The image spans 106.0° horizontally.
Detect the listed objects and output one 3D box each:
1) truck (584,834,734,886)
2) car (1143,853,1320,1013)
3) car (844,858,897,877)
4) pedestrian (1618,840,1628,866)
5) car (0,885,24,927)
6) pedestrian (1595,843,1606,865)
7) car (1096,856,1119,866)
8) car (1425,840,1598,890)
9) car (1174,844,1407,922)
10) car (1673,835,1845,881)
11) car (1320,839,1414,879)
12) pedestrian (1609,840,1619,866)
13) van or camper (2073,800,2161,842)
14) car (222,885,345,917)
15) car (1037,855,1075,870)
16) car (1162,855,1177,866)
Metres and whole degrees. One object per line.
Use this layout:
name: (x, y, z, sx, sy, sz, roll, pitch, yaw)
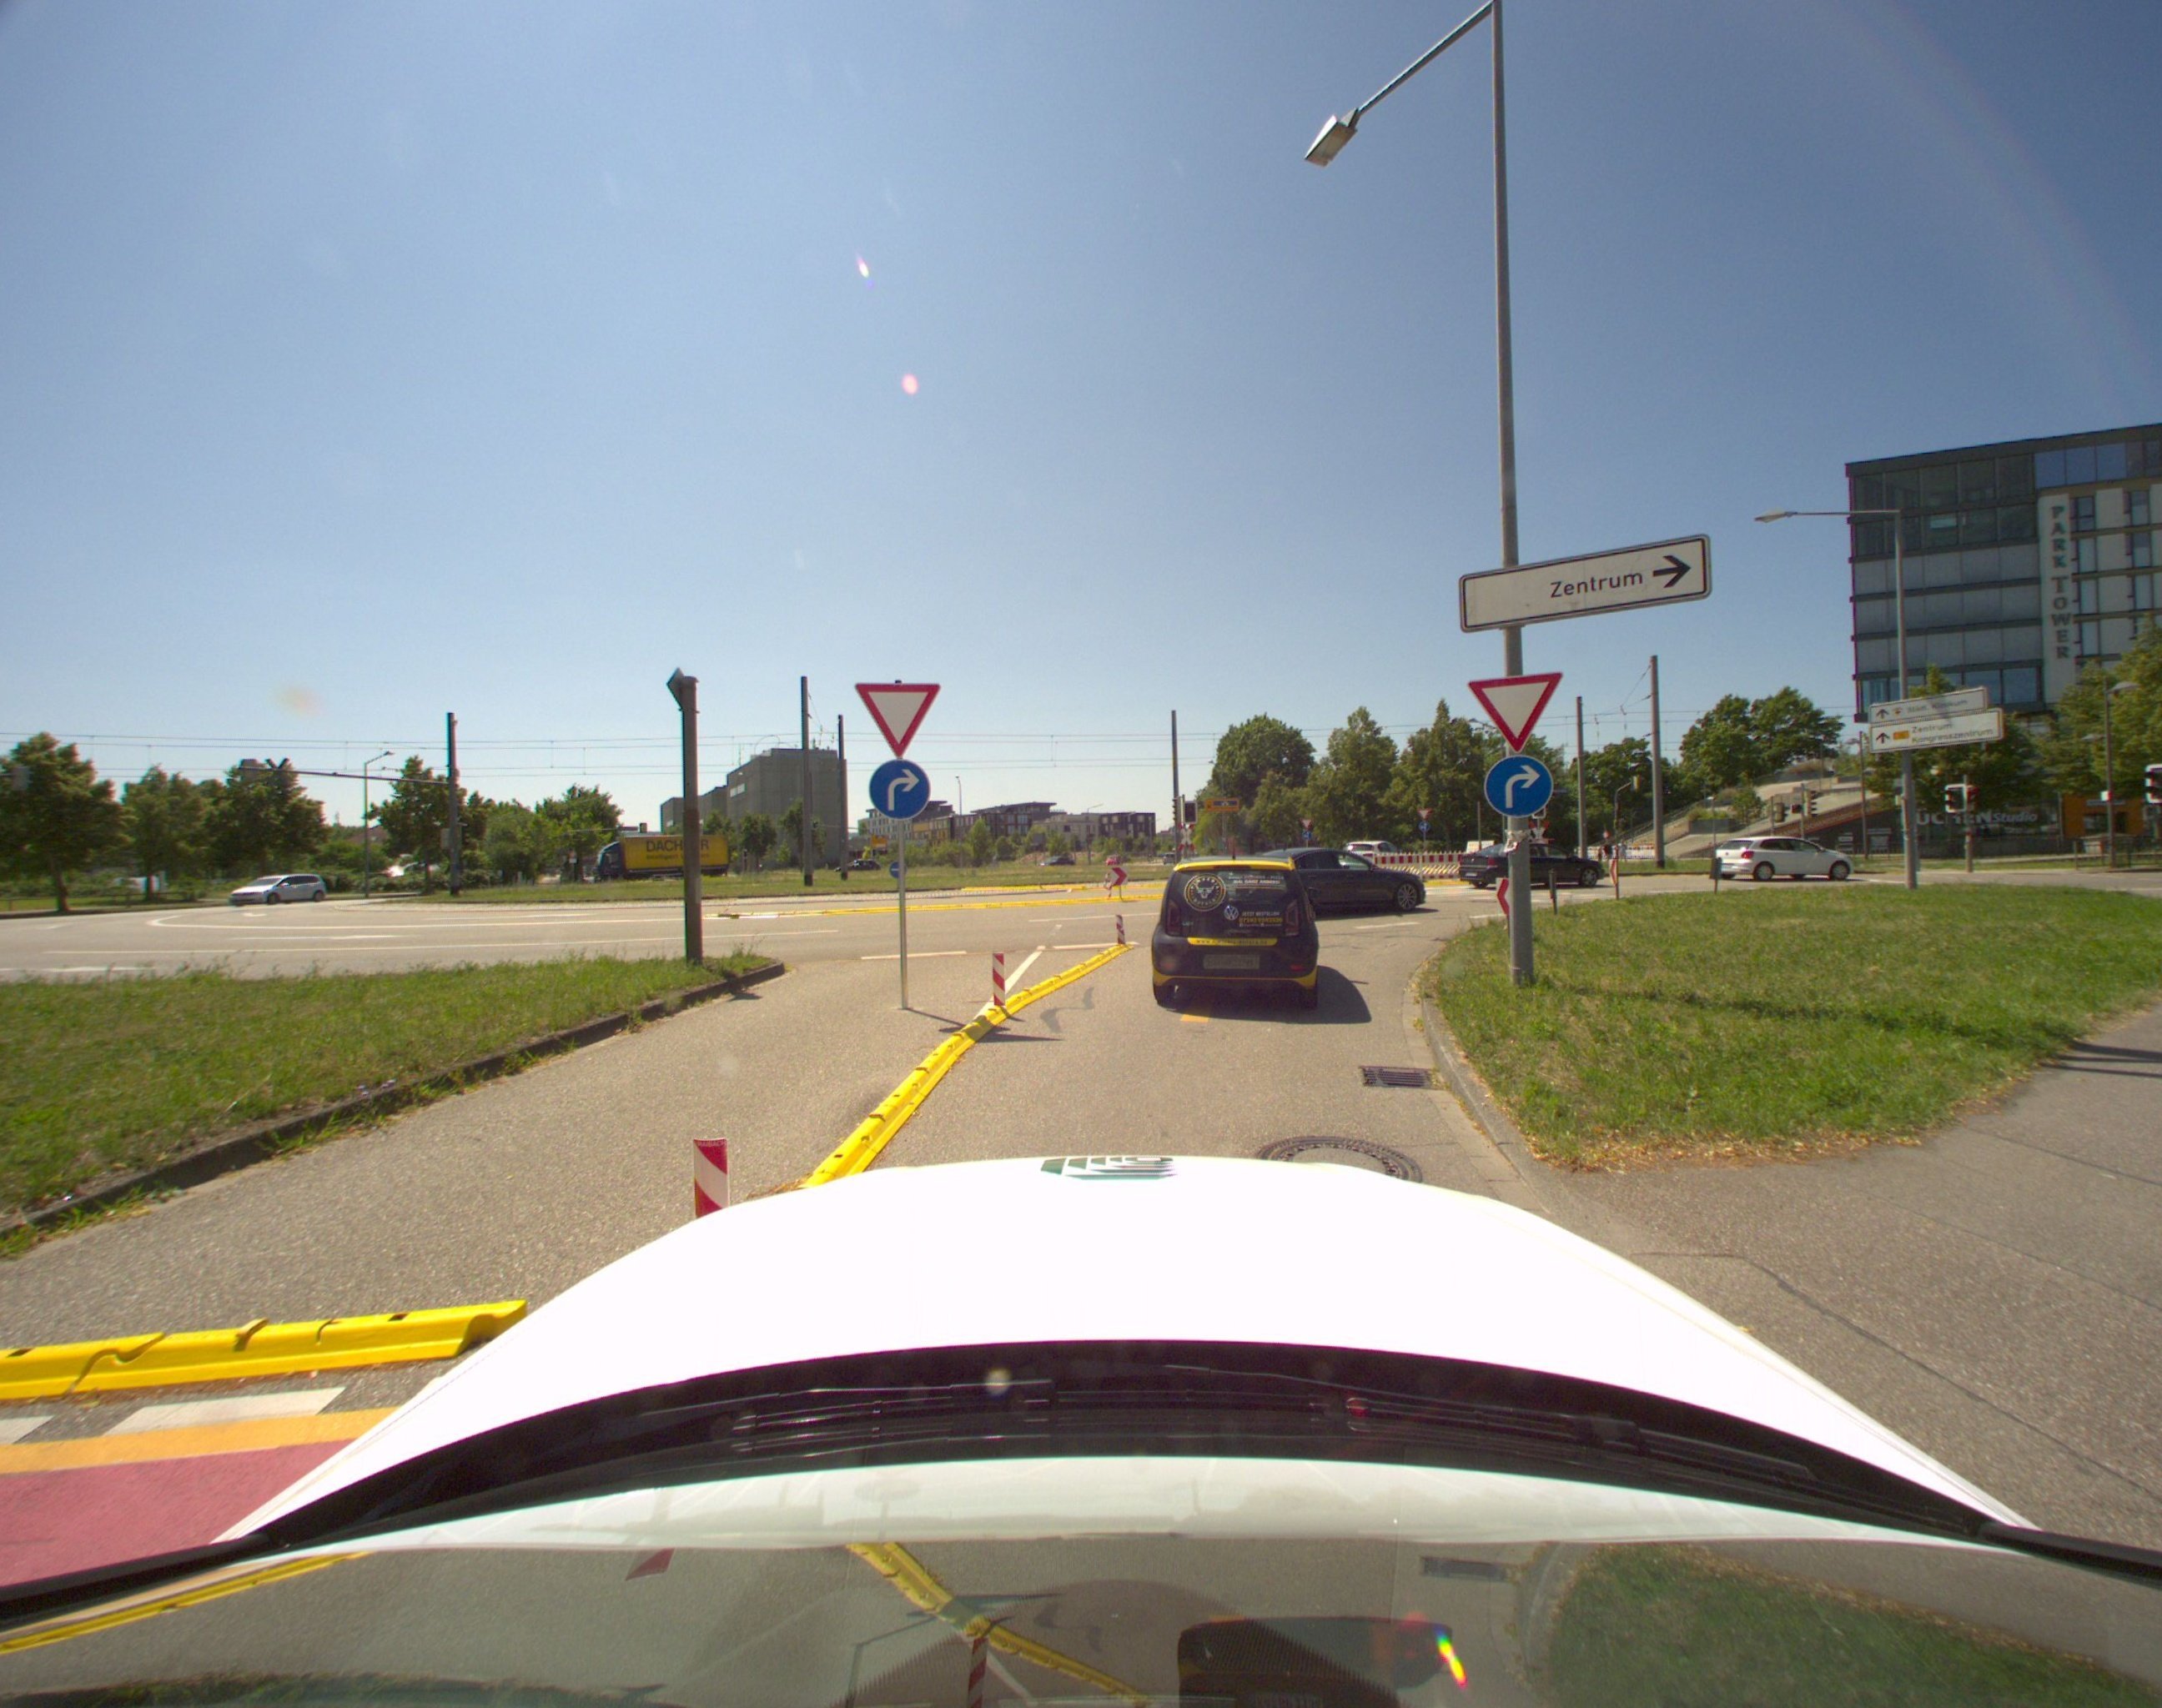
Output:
truck: (-31.809, 0.357, 61.712, 9.667, 3.659, 2.675, -2, 0, -41)
car: (1.844, 0.719, 9.524, 1.607, 1.451, 4.001, -1, 0, 13)
car: (-18.182, 1.136, 70.309, 4.061, 1.461, 1.713, -1, 0, -30)
pedestrian: (35.455, -0.066, 53.247, 0.444, 1.739, 0.319, -1, 0, 14)
car: (-37.353, 1.804, 26.219, 1.860, 1.436, 4.916, -1, 0, -23)
pedestrian: (33.903, -0.018, 53.140, 0.516, 1.429, 0.353, -2, 0, 12)
car: (3.287, 0.824, 99.003, 1.479, 1.089, 3.541, -1, 0, 26)
car: (13.610, 0.320, 25.839, 4.749, 1.449, 1.991, -1, 0, -14)
car: (4.572, 0.560, 17.792, 4.652, 1.449, 1.986, -1, 0, -21)
car: (22.598, 0.114, 27.243, 4.326, 1.449, 1.855, -1, 0, -2)
car: (11.923, 0.186, 33.781, 1.975, 1.486, 4.393, -2, 0, 44)
pedestrian: (34.921, -0.063, 53.327, 0.444, 1.739, 0.292, -1, 0, 14)
van or camper: (75.082, -2.333, 57.245, 6.718, 2.822, 2.391, -1, 0, 12)
car: (-44.620, 2.570, 45.740, 1.814, 1.454, 5.025, -2, 0, 2)
car: (-2.528, 0.862, 83.755, 1.975, 1.319, 4.510, -2, 0, 27)
car: (12.444, 0.886, 114.392, 1.647, 1.372, 3.042, -2, 0, 12)
